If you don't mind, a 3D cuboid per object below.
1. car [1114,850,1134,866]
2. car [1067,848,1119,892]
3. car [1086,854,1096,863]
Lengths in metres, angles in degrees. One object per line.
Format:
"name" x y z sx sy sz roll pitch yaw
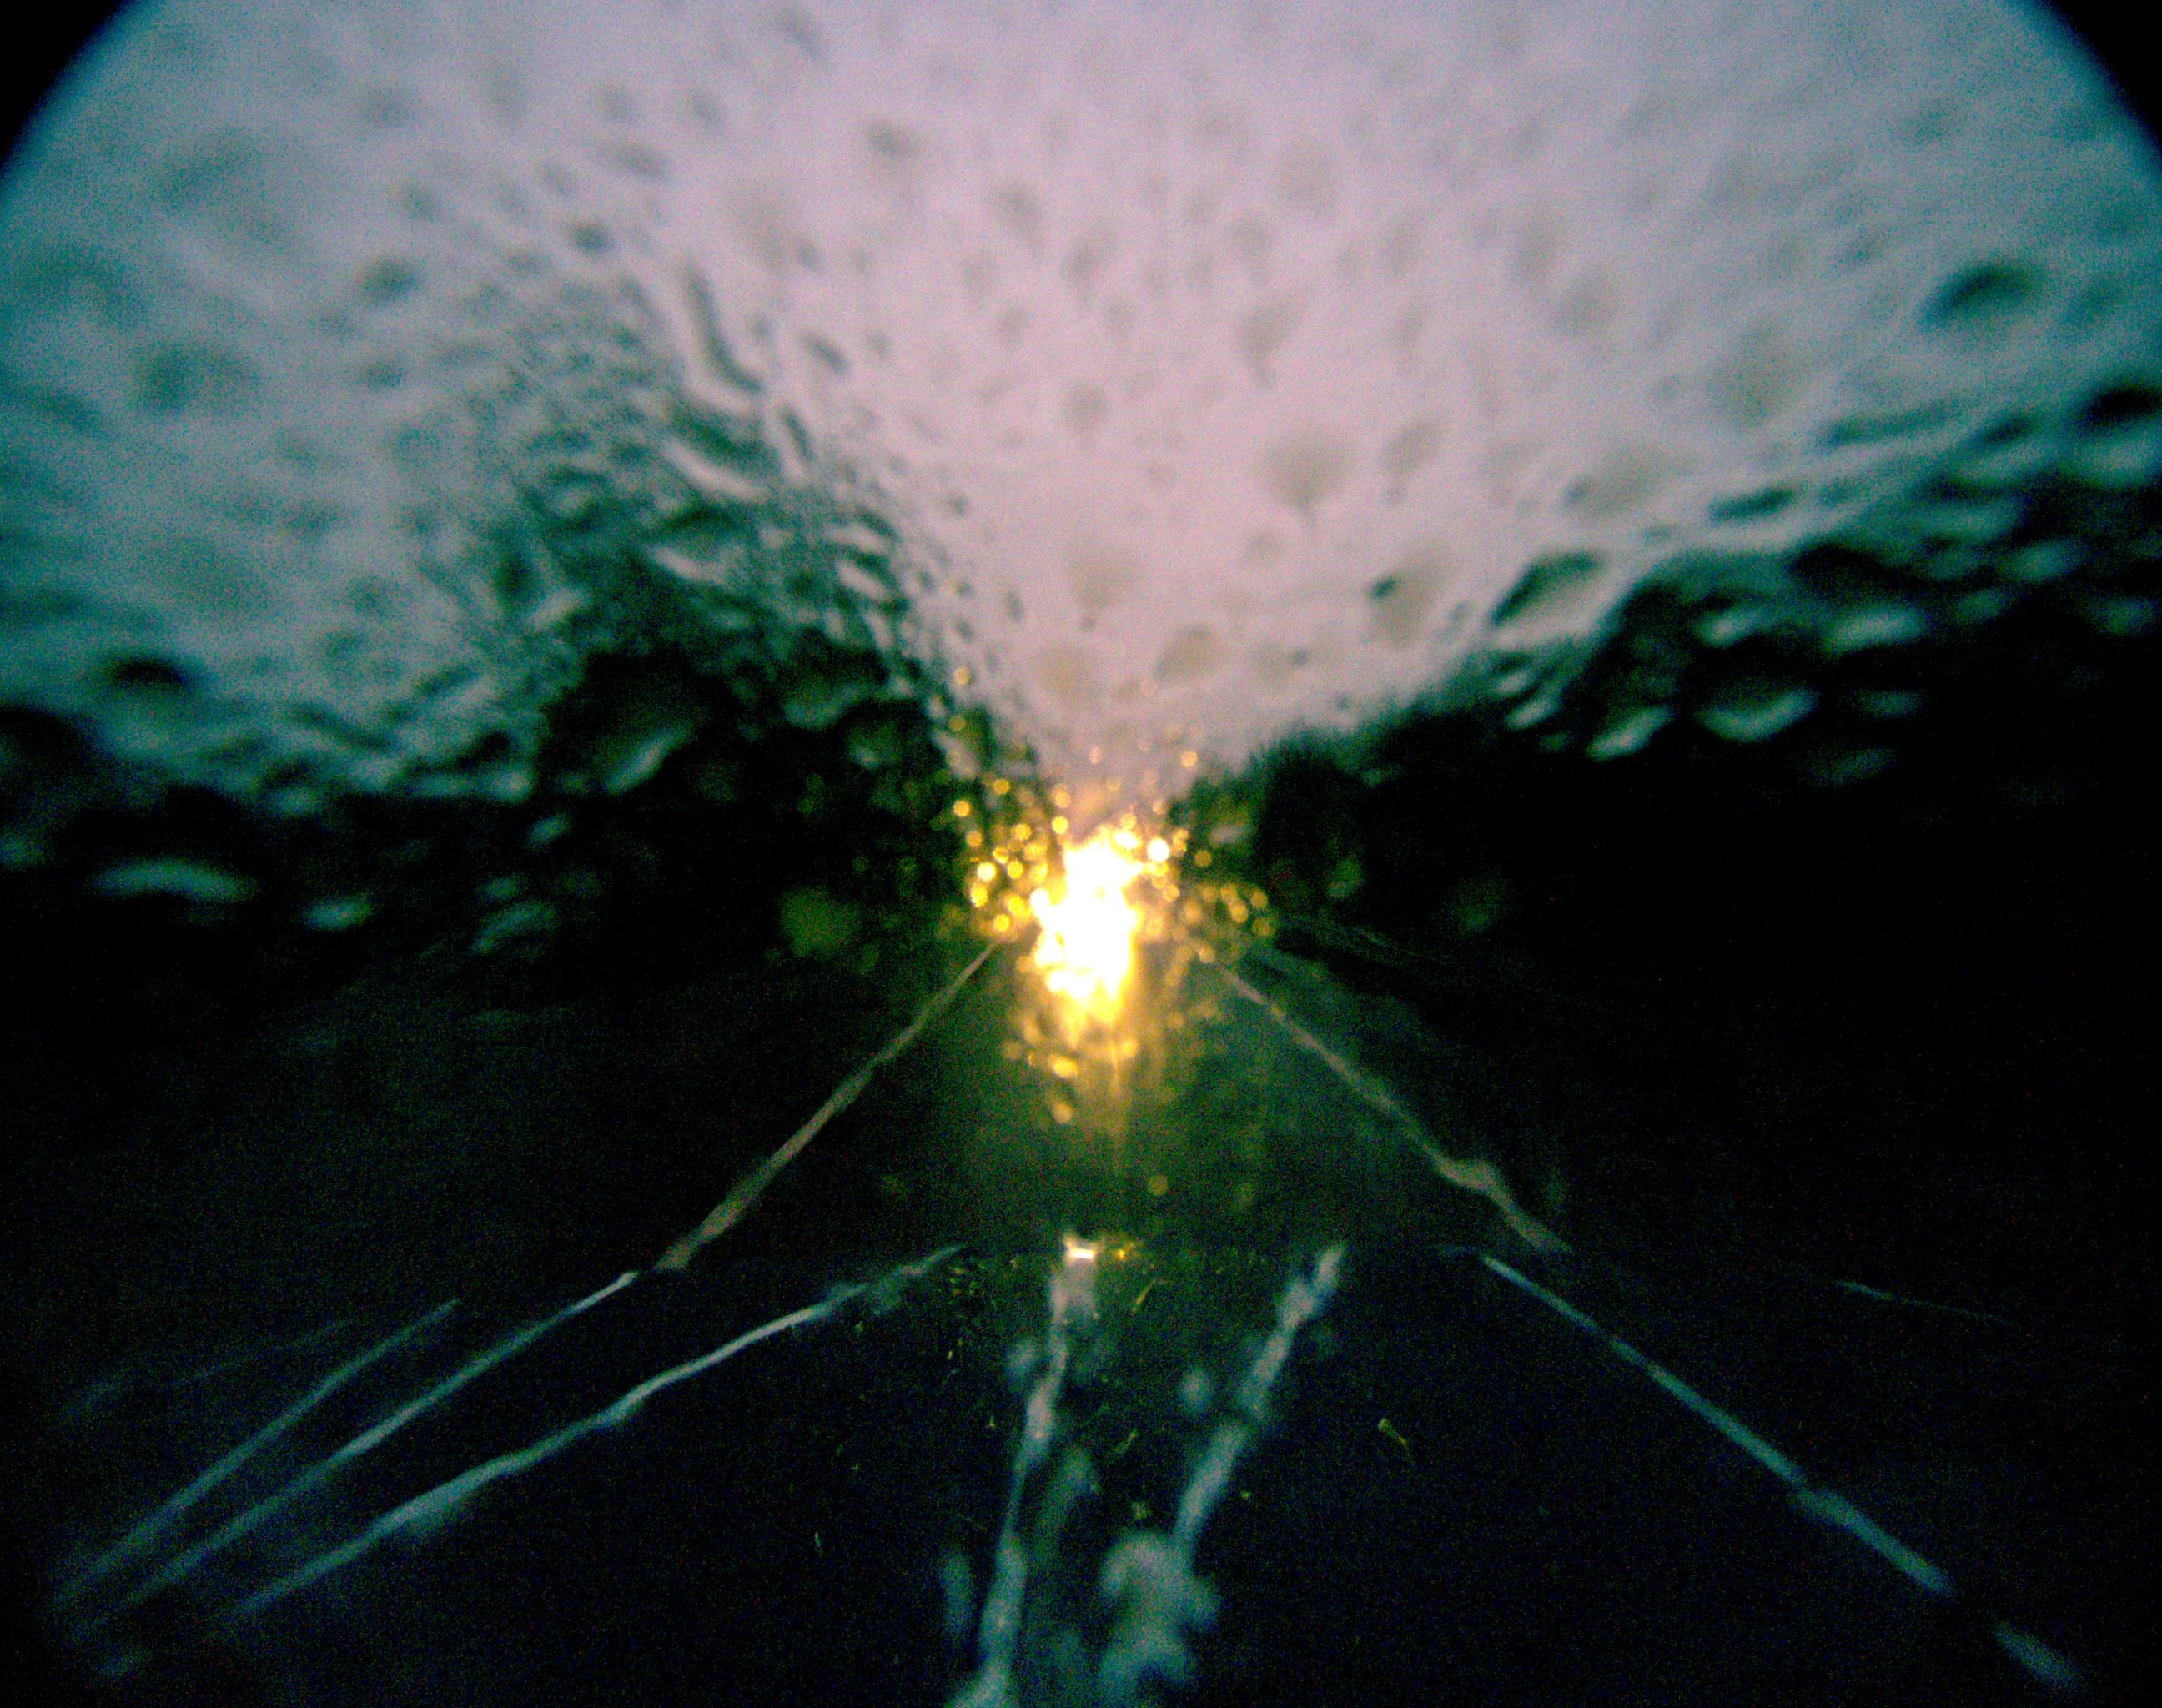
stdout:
"car" 4.220 0.418 75.194 1.753 1.543 3.993 -1 0 -1
"car" 0.485 0.642 31.915 1.998 1.672 4.000 -2 0 0
"car" 1.760 0.821 133.520 1.753 1.643 4.000 0 0 1
